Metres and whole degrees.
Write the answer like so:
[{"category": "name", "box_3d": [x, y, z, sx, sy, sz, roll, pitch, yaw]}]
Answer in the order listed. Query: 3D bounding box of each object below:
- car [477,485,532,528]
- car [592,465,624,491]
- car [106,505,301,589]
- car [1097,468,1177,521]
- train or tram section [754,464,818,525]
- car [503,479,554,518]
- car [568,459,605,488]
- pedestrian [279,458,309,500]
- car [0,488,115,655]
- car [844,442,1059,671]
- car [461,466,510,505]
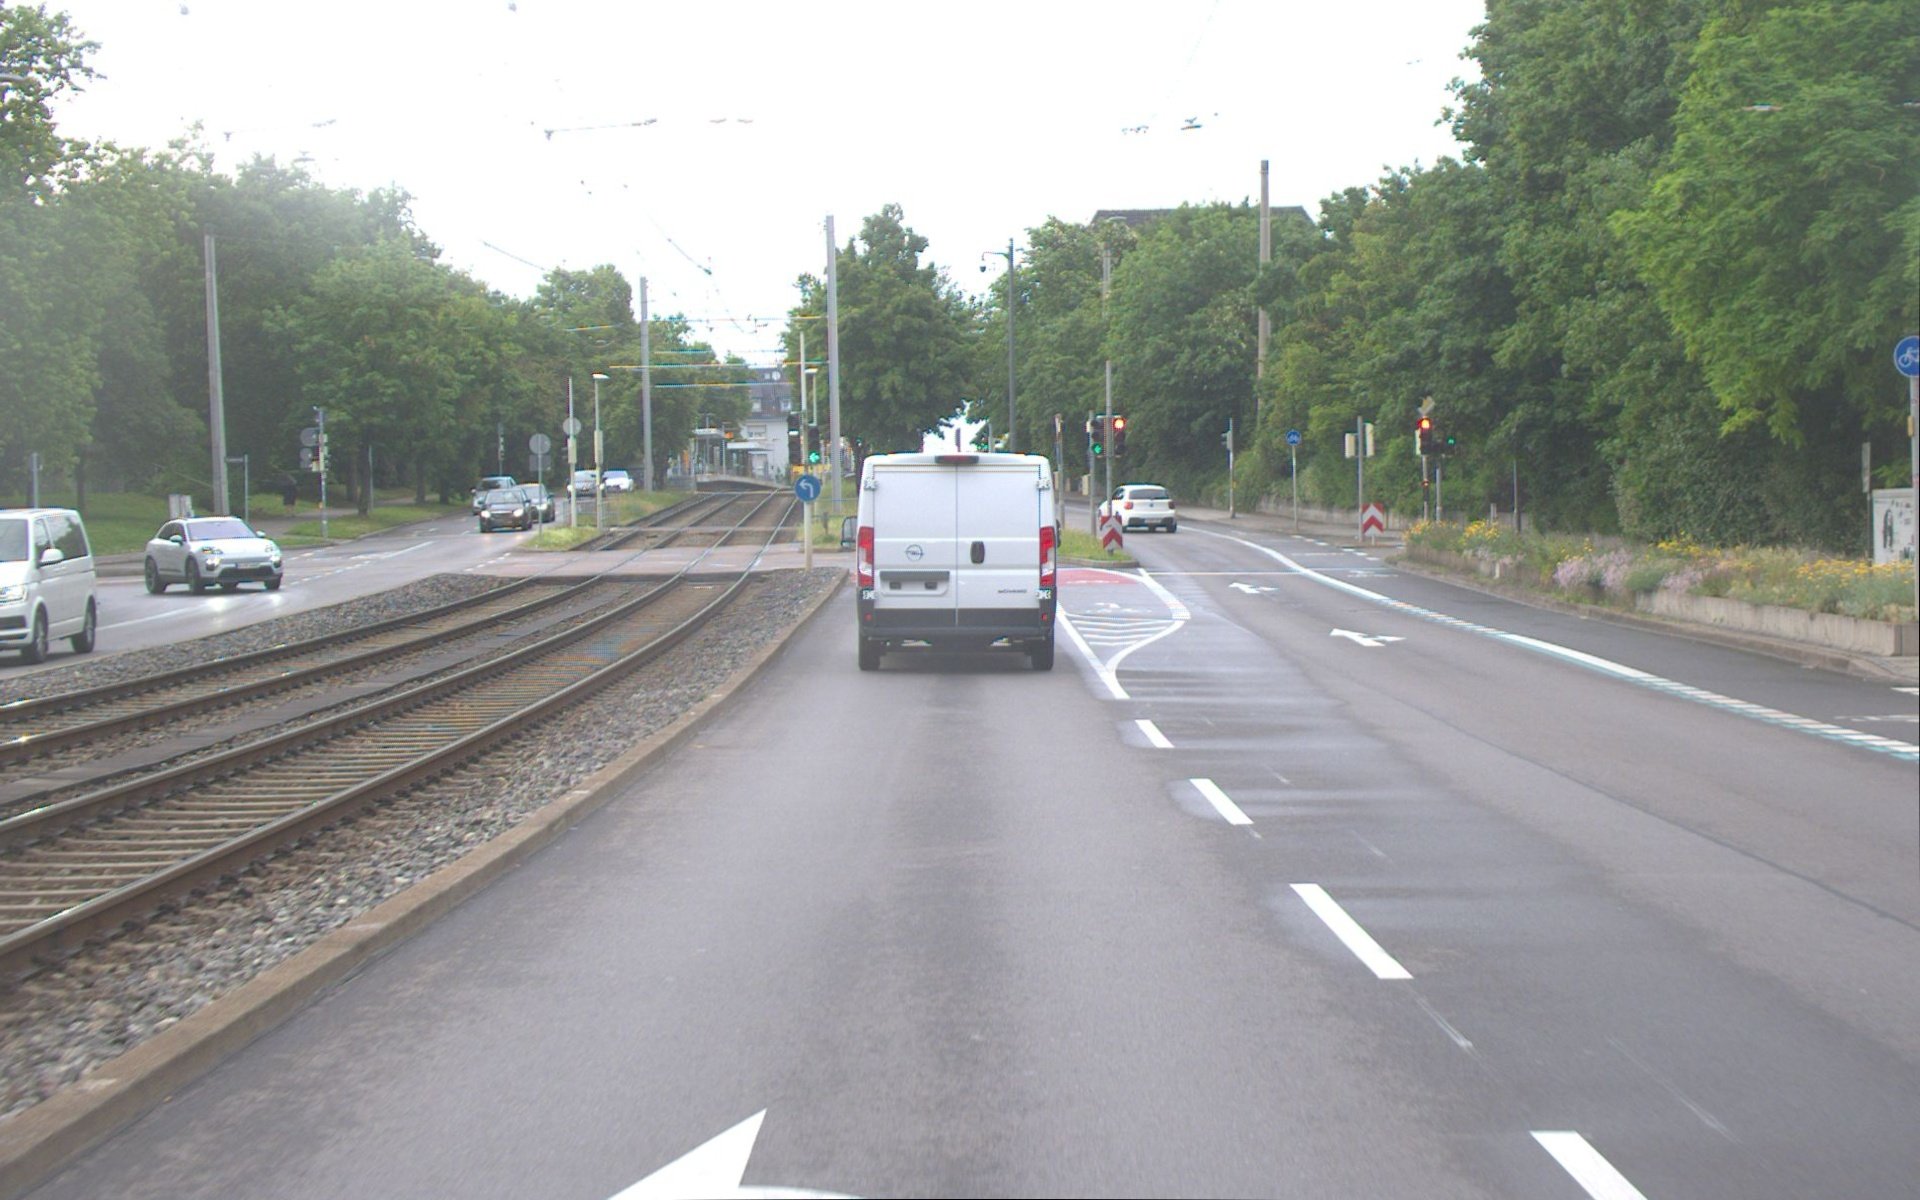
[{"category": "car", "box_3d": [-15.939, -3.276, 120.364, 1.601, 1.397, 3.793, 0, 3, -3]}, {"category": "car", "box_3d": [-19.924, -6.926, 194.920, 1.601, 1.397, 3.793, 0, 3, -3]}, {"category": "car", "box_3d": [-16.638, -1.144, 75.453, 1.995, 1.643, 4.757, -5, 3, -42]}, {"category": "car", "box_3d": [5.313, -3.198, 103.730, 1.703, 1.516, 3.793, 0, 3, -8]}, {"category": "train or tram section", "box_3d": [-12.179, -7.336, 241.600, 4.060, 3.881, 15.040, 0, 0, -1]}, {"category": "car", "box_3d": [-16.341, -3.850, 130.438, 1.601, 1.397, 3.792, -1, 1, -3]}, {"category": "car", "box_3d": [-18.754, -6.375, 172.785, 1.601, 1.397, 3.793, 0, 3, -3]}, {"category": "pedestrian", "box_3d": [-25.556, -4.657, 131.967, 1.013, 1.595, 1.040, -1, 3, -7]}, {"category": "car", "box_3d": [-12.431, -0.376, 44.065, 1.993, 2.006, 5.061, -4, 2, -2]}, {"category": "car", "box_3d": [-0.106, -0.515, 36.891, 2.146, 2.275, 5.063, 0, 2, -1]}, {"category": "car", "box_3d": [-20.816, -5.035, 150.825, 1.719, 1.548, 3.864, -4, 3, -3]}]
